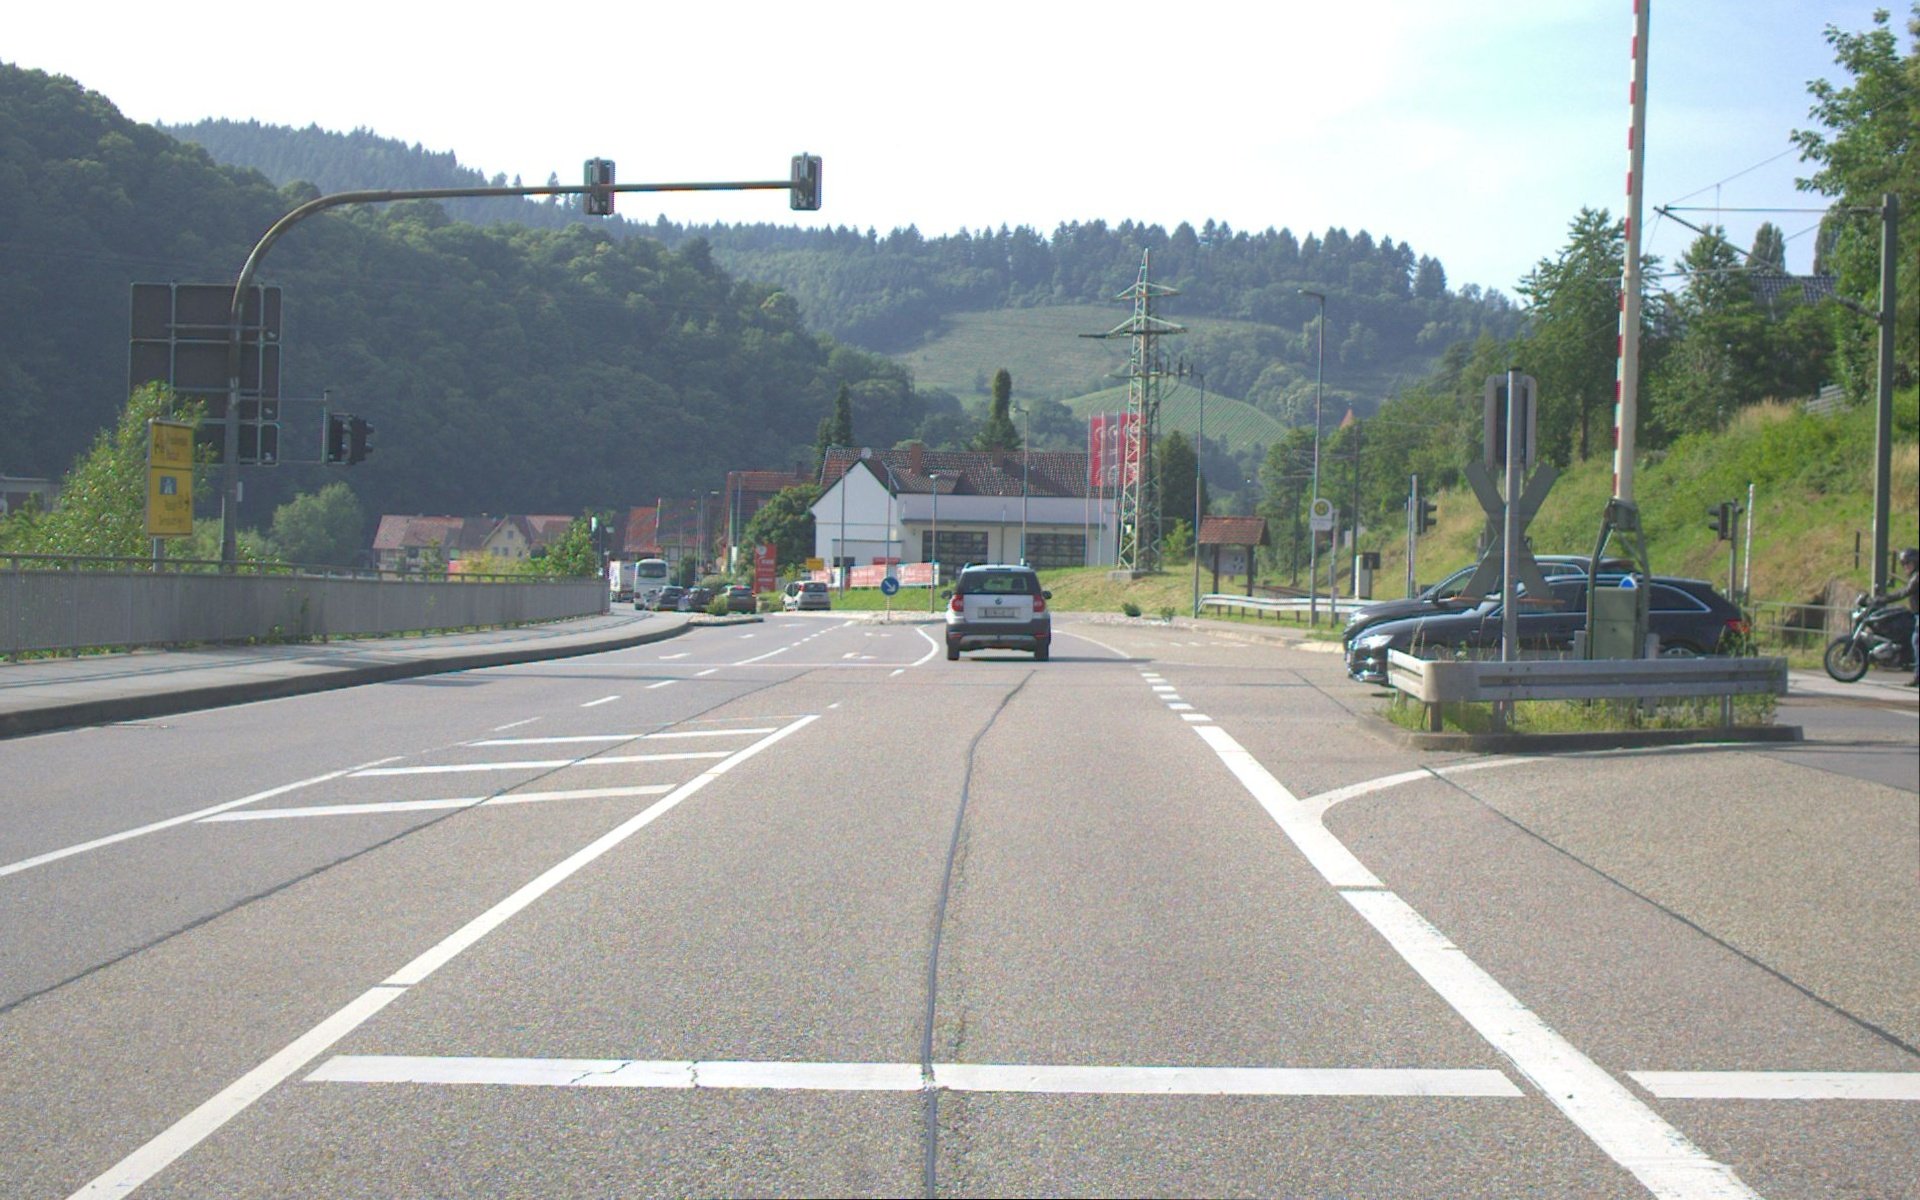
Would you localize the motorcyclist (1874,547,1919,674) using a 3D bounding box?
[{"bbox_3d":[12.202,0.136,43.947,0.907,1.591,0.765,2,1,18],"label":"motorcyclist"}]

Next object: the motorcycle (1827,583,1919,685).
[{"bbox_3d":[12.217,0.441,43.948,2.095,1.250,0.798,2,1,19],"label":"motorcycle"}]

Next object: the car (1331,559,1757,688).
[{"bbox_3d":[6.748,0.262,40.093,4.727,1.465,1.841,0,0,4],"label":"car"}]

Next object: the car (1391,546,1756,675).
[{"bbox_3d":[8.252,0.123,46.367,4.728,1.654,1.930,0,0,10],"label":"car"}]

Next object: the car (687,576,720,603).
[{"bbox_3d":[-14.215,-0.580,190.676,1.232,1.430,2.641,-1,1,-18],"label":"car"}]

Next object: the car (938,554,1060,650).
[{"bbox_3d":[0.717,0.048,59.770,1.861,1.539,4.372,2,0,4],"label":"car"}]

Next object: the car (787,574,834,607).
[{"bbox_3d":[-7.004,-0.459,160.656,1.453,1.430,2.937,2,1,-17],"label":"car"}]

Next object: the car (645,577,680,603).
[{"bbox_3d":[-17.969,-0.596,207.749,1.453,1.430,2.937,2,1,-18],"label":"car"}]

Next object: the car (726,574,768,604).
[{"bbox_3d":[-10.960,-0.562,176.713,1.453,1.430,2.937,2,1,-18],"label":"car"}]
